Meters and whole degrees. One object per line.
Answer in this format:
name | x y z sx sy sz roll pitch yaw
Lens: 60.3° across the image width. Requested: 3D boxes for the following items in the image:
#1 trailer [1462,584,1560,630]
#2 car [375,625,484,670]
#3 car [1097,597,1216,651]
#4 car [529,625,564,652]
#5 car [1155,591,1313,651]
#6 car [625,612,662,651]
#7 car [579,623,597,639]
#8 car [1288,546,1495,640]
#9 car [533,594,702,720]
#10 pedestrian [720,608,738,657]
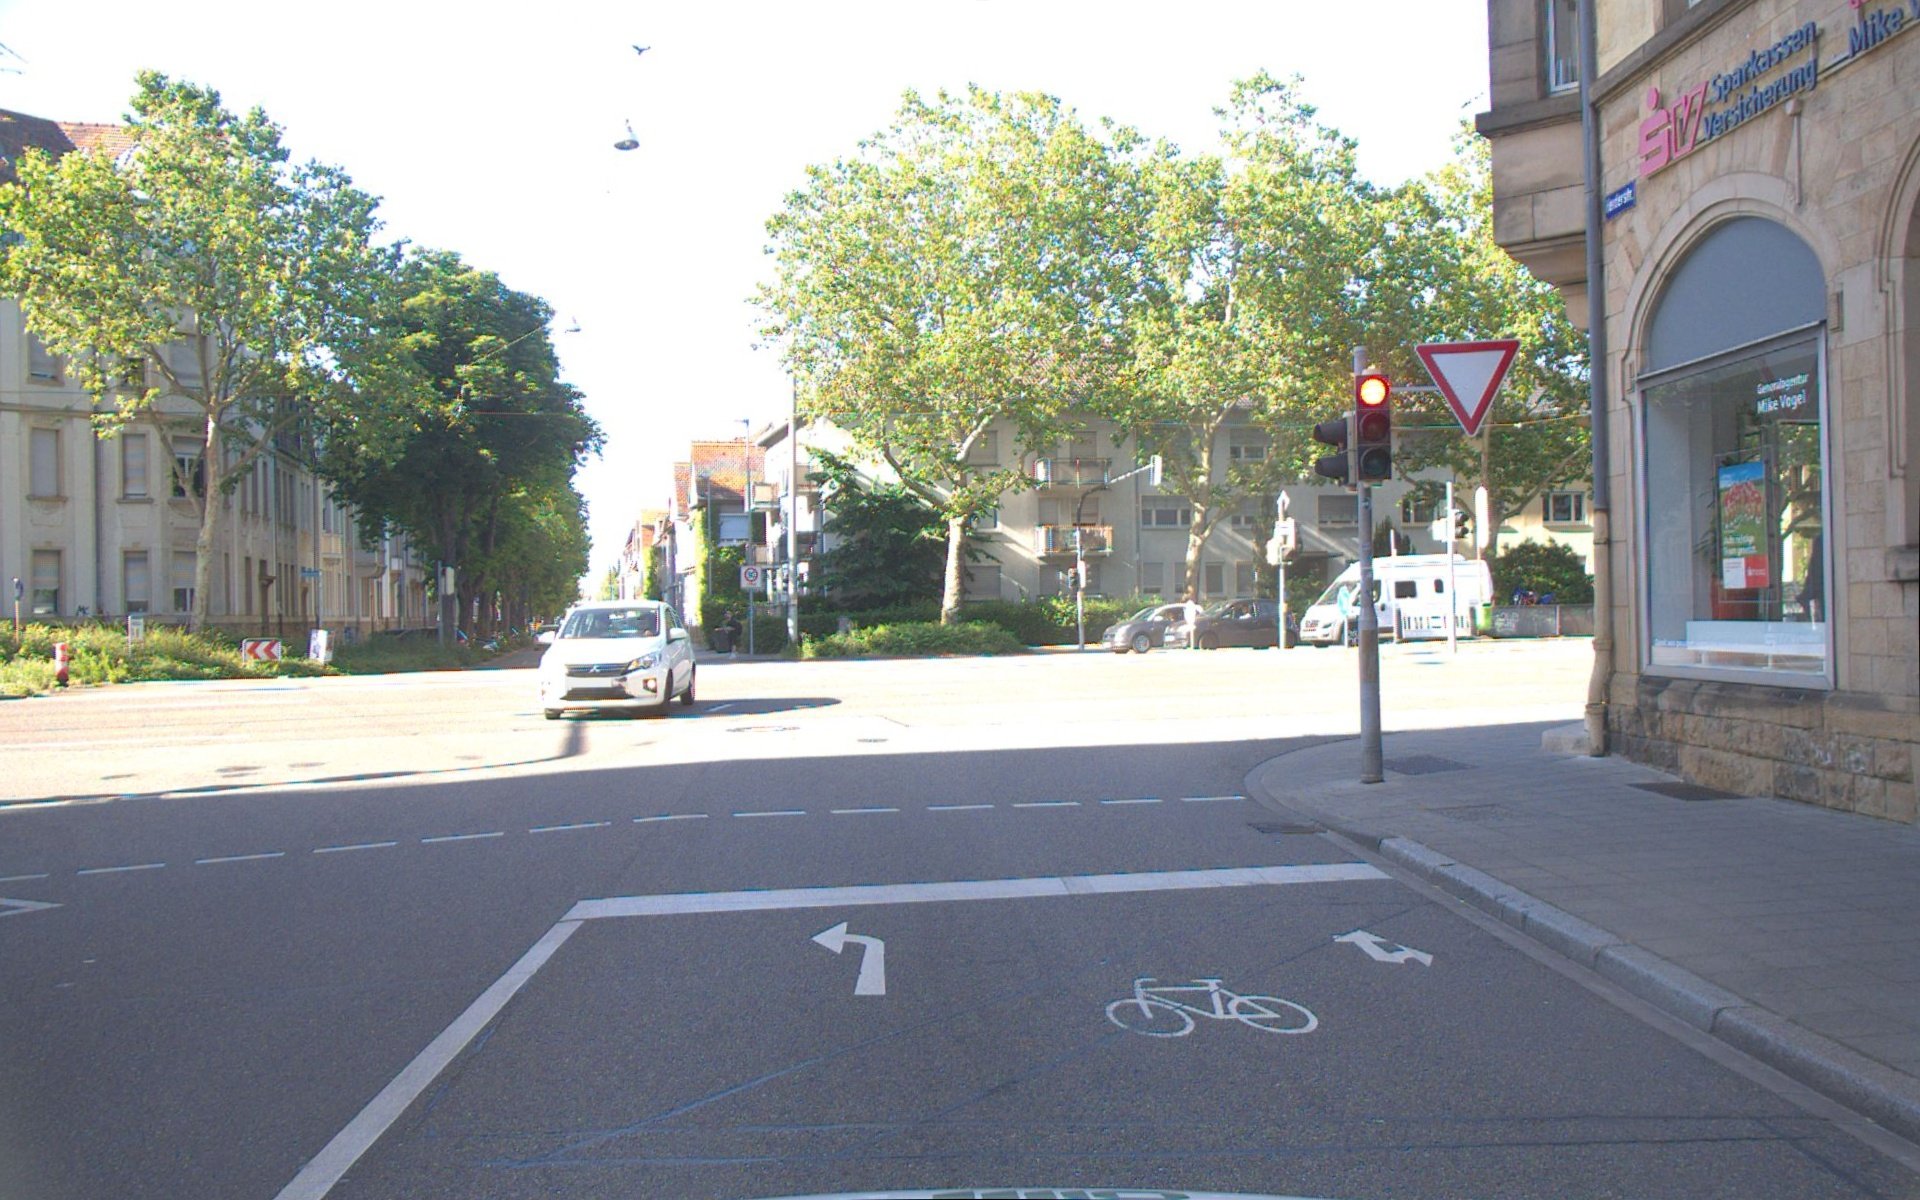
trailer | 17.230 0.202 51.698 2.699 1.334 1.263 -2 0 -20
car | -20.447 1.813 63.742 3.928 1.512 1.672 -2 0 -20
car | 6.050 0.719 51.022 3.333 1.513 1.514 -2 0 -23
car | -24.799 2.267 99.192 1.960 1.471 3.984 -2 0 -15
car | 7.480 0.559 45.218 3.926 1.476 1.650 -2 0 -19
car | -18.097 1.774 94.660 1.957 2.049 3.990 -2 0 -10
car | -35.612 2.961 158.349 1.644 1.509 3.511 0 -1 -12
car | 13.118 -0.228 50.234 5.949 2.613 1.989 -2 0 -19
car | -4.521 0.703 22.339 1.592 1.498 3.798 -2 0 -2
pedestrian | -8.388 1.180 60.065 0.621 1.780 0.658 0 -1 -5
